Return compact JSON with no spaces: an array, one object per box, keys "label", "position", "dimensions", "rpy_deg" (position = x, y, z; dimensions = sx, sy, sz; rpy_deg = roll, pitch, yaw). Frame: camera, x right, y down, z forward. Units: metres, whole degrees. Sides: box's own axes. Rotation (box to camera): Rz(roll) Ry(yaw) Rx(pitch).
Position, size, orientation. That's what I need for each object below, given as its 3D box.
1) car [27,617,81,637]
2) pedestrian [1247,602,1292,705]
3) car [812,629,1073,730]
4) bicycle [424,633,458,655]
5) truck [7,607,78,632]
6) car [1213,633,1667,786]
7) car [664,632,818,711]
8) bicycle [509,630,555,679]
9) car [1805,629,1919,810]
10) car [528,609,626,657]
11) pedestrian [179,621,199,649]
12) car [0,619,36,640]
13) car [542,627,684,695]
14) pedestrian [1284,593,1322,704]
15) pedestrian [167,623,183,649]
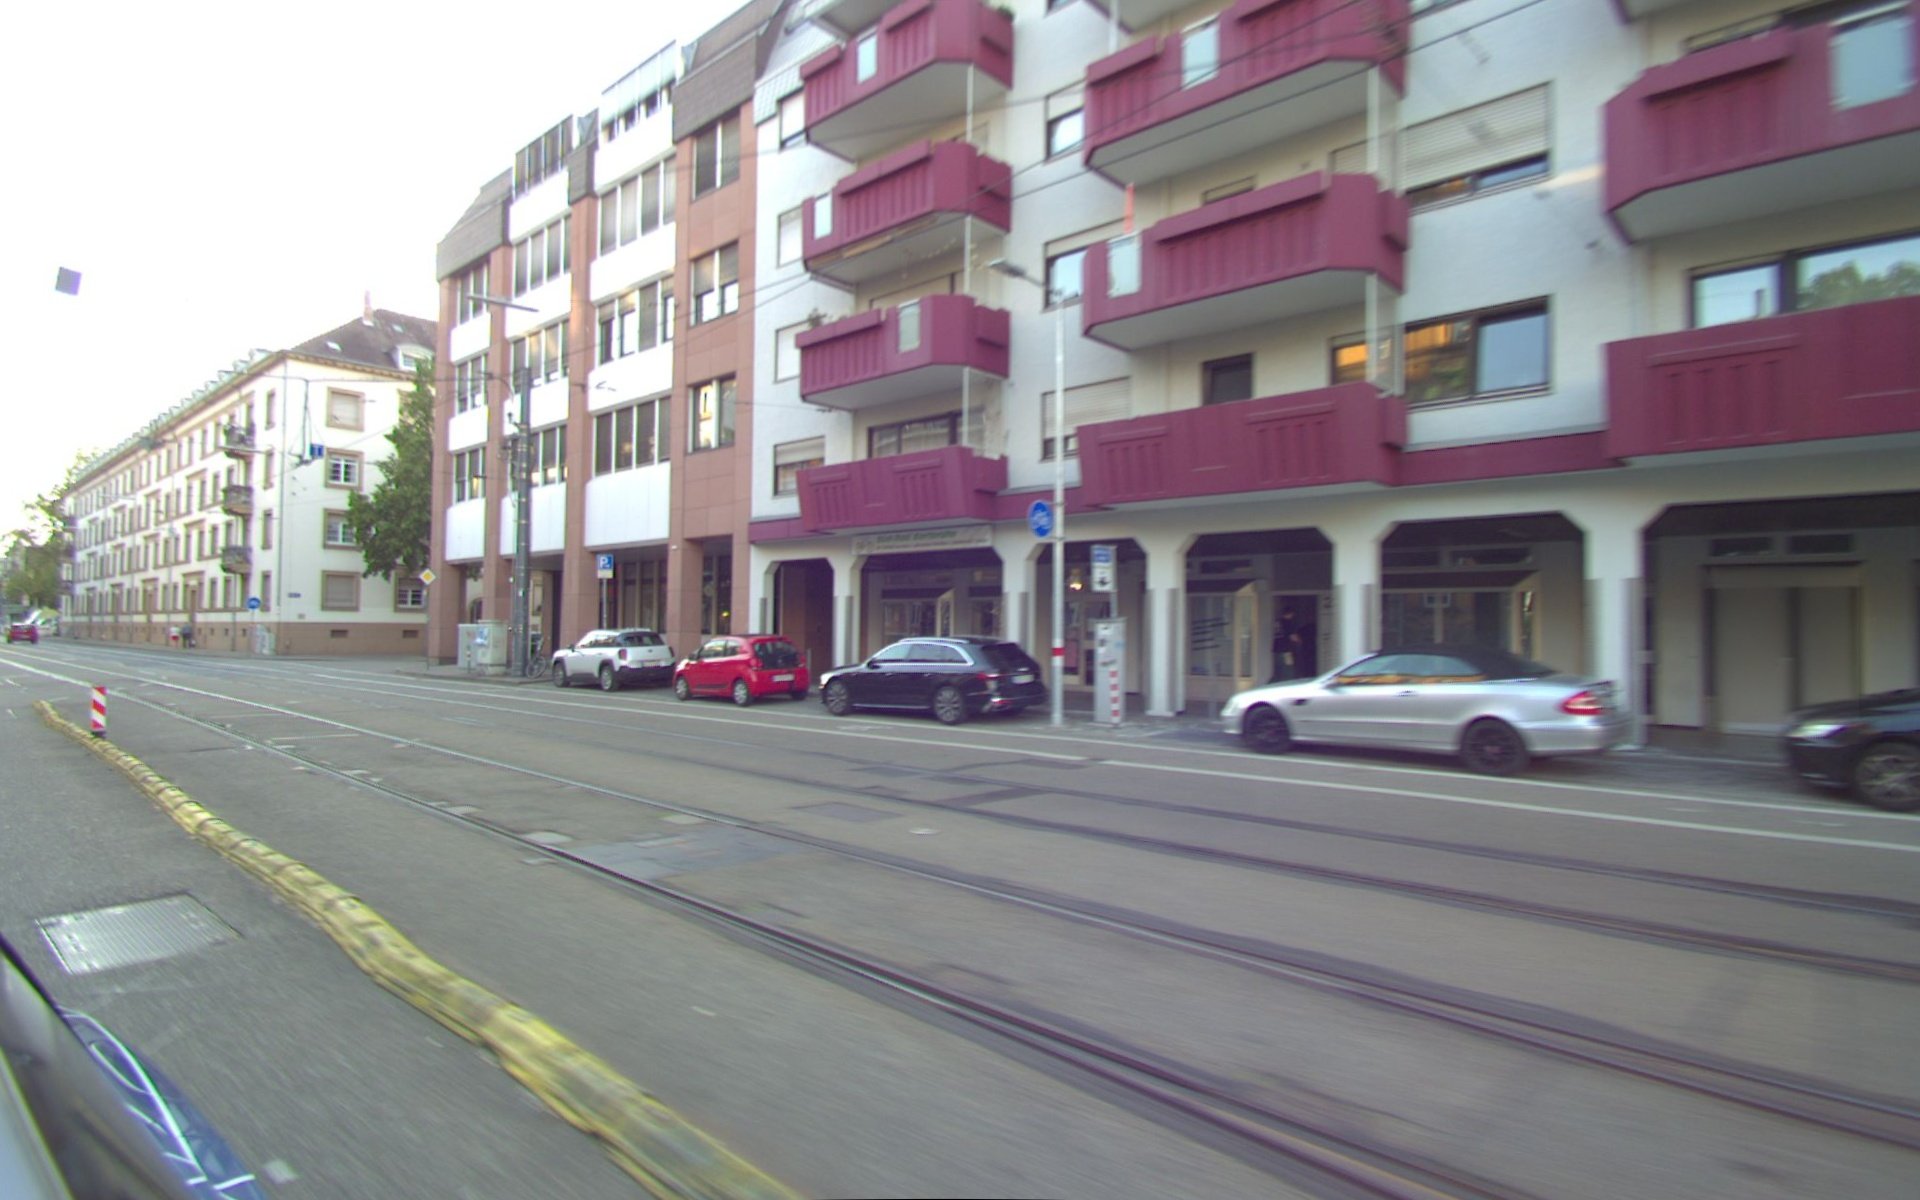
[{"label":"car","position":[-123.146,3.633,137.624],"dimensions":[2.227,2.617,5.168],"rpy_deg":[-2,-2,38]},{"label":"pedestrian","position":[5.773,0.990,18.887],"dimensions":[0.605,1.886,0.529],"rpy_deg":[1,-2,-27]},{"label":"car","position":[-0.403,1.307,18.036],"dimensions":[4.479,1.490,1.973],"rpy_deg":[-1,0,41]},{"label":"bicycle","position":[-28.737,2.432,56.074],"dimensions":[0.601,1.222,1.670],"rpy_deg":[0,-2,25]},{"label":"truck","position":[-127.754,2.716,140.977],"dimensions":[2.563,3.455,6.988],"rpy_deg":[-2,-2,39]},{"label":"car","position":[5.576,1.157,12.257],"dimensions":[4.679,1.424,1.672],"rpy_deg":[-1,-1,45]},{"label":"car","position":[-4.801,1.473,21.951],"dimensions":[3.480,1.490,1.593],"rpy_deg":[-1,0,44]},{"label":"bicycle","position":[-12.546,1.577,29.644],"dimensions":[0.601,1.388,2.262],"rpy_deg":[2,-3,-40]},{"label":"car","position":[9.833,1.027,8.425],"dimensions":[4.200,1.520,1.768],"rpy_deg":[-1,-1,43]},{"label":"car","position":[-21.955,1.865,57.883],"dimensions":[6.115,2.609,2.073],"rpy_deg":[-1,-3,34]},{"label":"pedestrian","position":[-47.888,2.157,62.850],"dimensions":[0.981,1.714,0.787],"rpy_deg":[-1,-3,40]},{"label":"car","position":[-73.200,2.328,78.629],"dimensions":[3.752,1.570,1.543],"rpy_deg":[-1,-4,40]},{"label":"car","position":[-9.009,1.498,26.084],"dimensions":[4.204,1.567,1.698],"rpy_deg":[-1,-1,43]},{"label":"pedestrian","position":[6.396,0.895,18.865],"dimensions":[0.527,2.029,0.518],"rpy_deg":[-1,-3,38]},{"label":"pedestrian","position":[-48.312,2.205,62.268],"dimensions":[0.810,1.622,0.584],"rpy_deg":[-1,-3,40]}]
